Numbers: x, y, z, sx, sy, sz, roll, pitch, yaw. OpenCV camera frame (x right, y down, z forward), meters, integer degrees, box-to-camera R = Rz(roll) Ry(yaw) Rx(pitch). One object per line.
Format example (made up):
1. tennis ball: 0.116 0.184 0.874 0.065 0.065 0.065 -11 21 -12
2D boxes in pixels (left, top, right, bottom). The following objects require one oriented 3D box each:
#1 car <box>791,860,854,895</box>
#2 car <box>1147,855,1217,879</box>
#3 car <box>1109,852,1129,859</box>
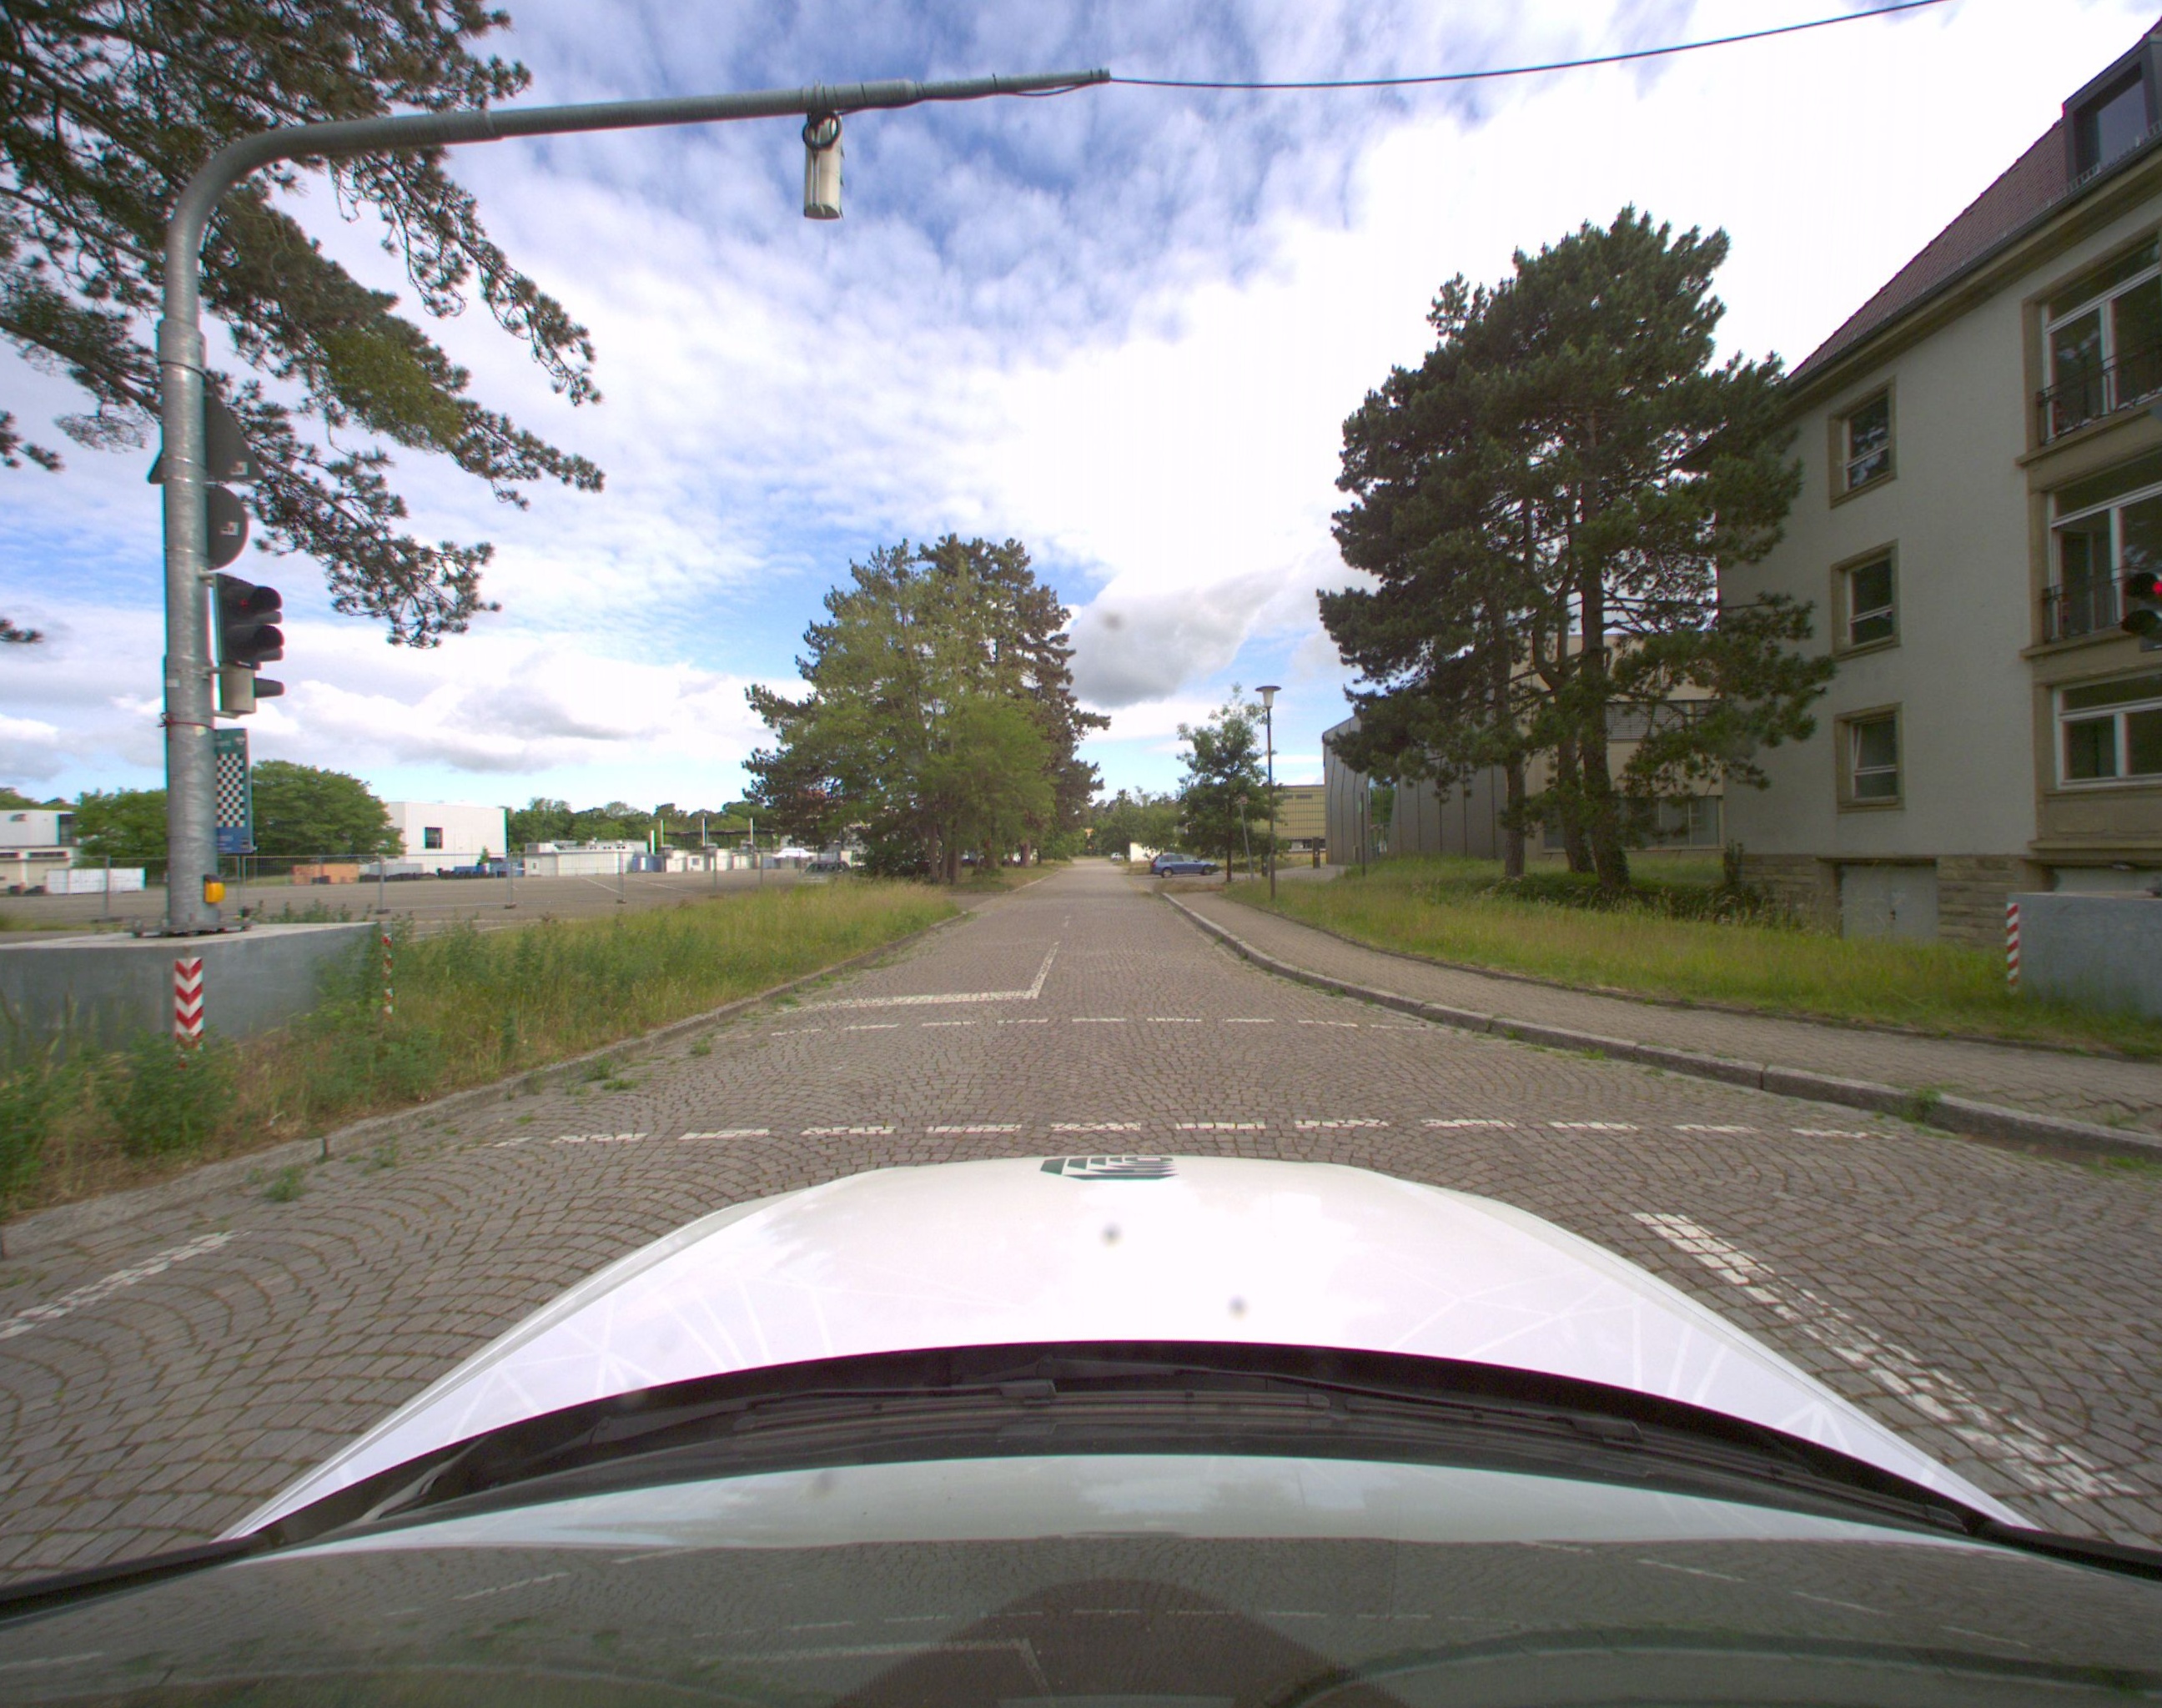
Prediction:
1. car: -12.131 1.072 38.433 1.607 1.487 4.001 -1 0 1
2. car: 6.577 0.863 53.259 4.332 1.422 1.999 -1 0 -2
3. car: 8.012 0.371 170.347 3.980 1.398 1.997 -1 0 -5
